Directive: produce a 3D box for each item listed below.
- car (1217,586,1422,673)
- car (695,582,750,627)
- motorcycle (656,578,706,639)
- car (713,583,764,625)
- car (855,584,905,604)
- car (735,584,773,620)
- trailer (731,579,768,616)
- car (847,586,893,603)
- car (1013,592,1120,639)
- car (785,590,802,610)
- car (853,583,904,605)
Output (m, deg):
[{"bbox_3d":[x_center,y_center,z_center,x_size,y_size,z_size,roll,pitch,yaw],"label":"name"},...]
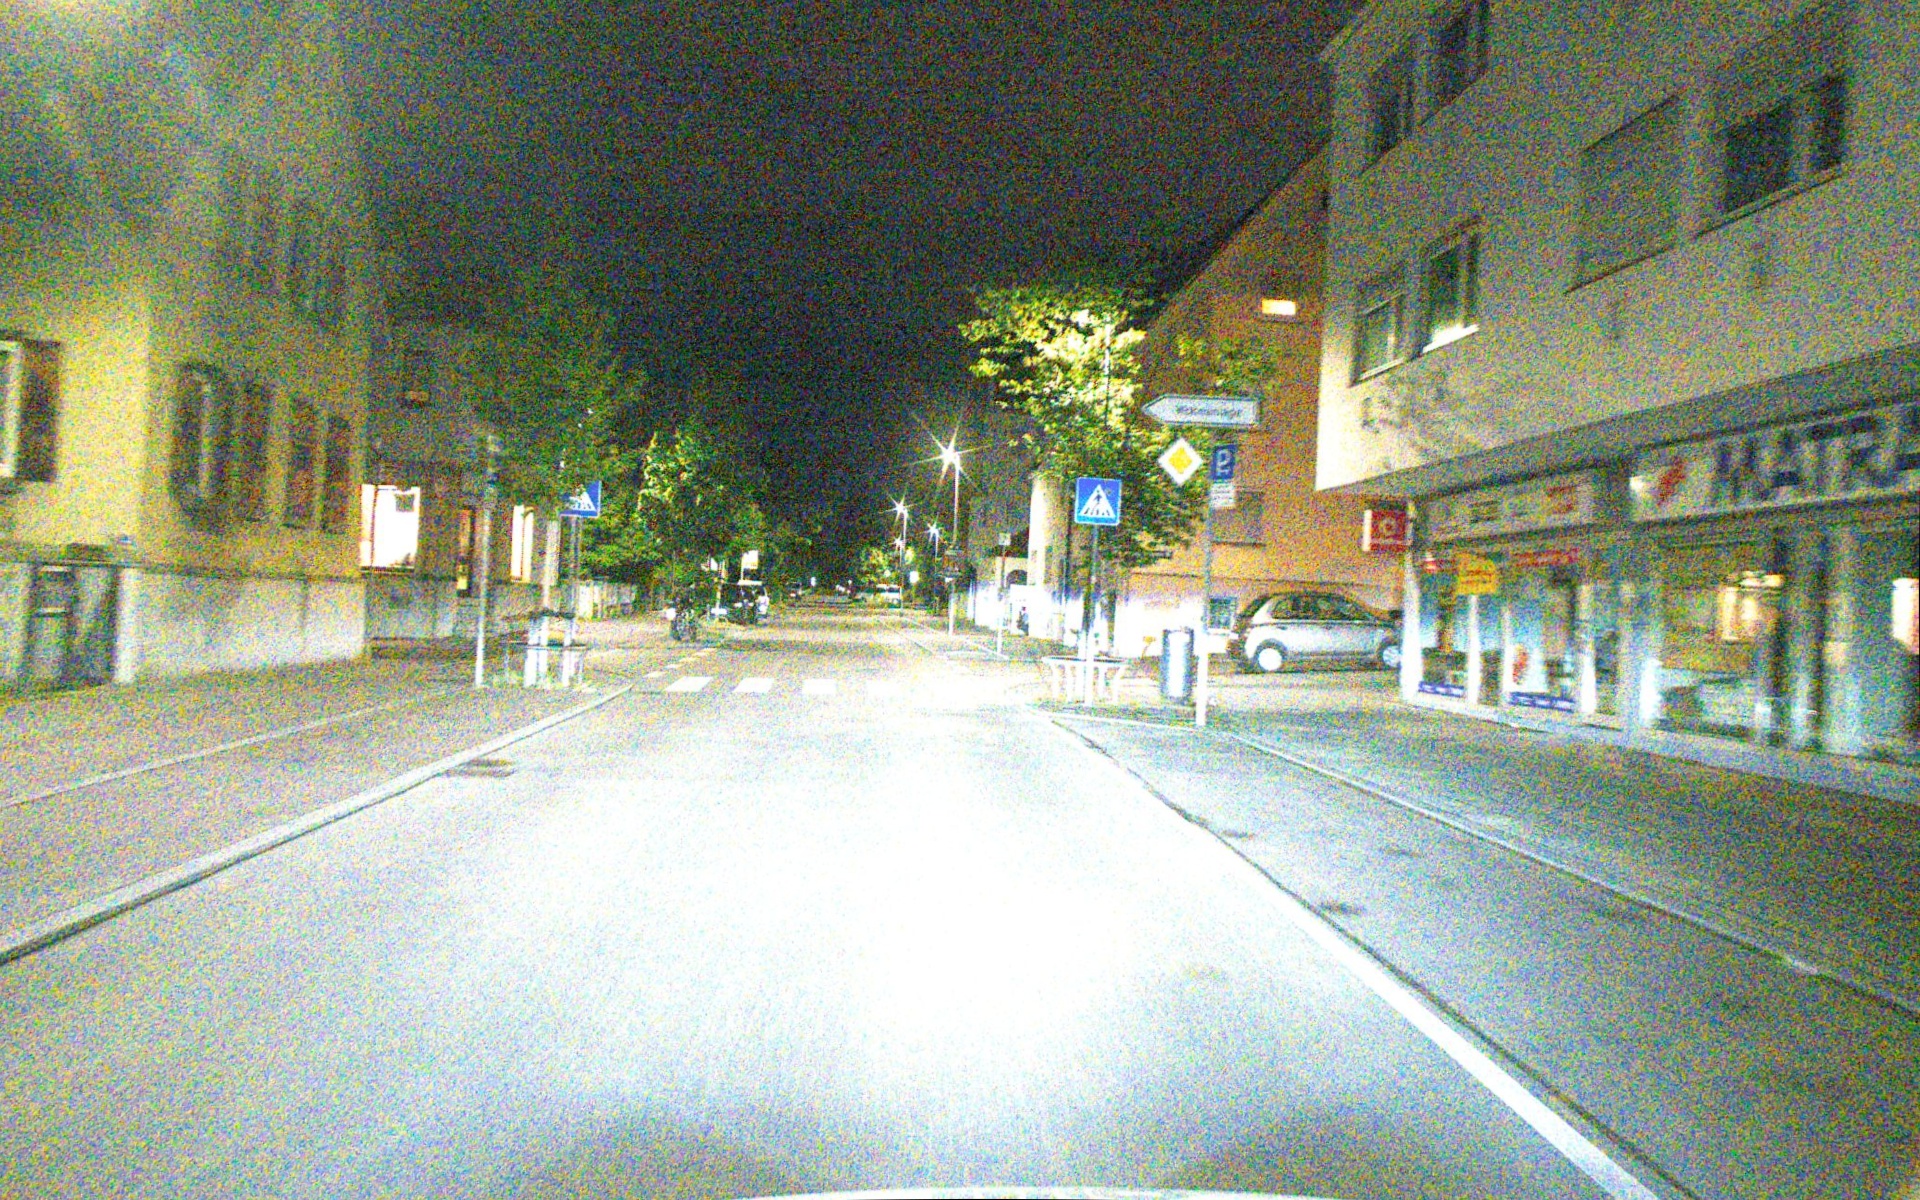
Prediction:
[{"bbox_3d":[6.851,0.542,31.725,3.437,1.551,1.819,-1,0,-6],"label":"car"},{"bbox_3d":[-8.757,0.148,61.256,1.655,1.536,4.275,2,0,-4],"label":"car"},{"bbox_3d":[-7.126,0.215,42.404,0.730,1.477,2.196,2,0,4],"label":"motorcycle"},{"bbox_3d":[-8.873,0.139,66.506,1.732,1.545,4.274,3,0,-5],"label":"car"},{"bbox_3d":[-8.253,-0.609,170.200,5.083,2.049,2.099,1,0,-6],"label":"car"},{"bbox_3d":[-10.014,0.092,80.468,1.639,1.548,2.975,5,0,-6],"label":"car"},{"bbox_3d":[-10.637,-0.123,83.652,1.419,1.717,3.424,5,0,-2],"label":"trailer"},{"bbox_3d":[-10.423,-0.607,191.777,5.073,1.920,2.103,1,0,4],"label":"car"},{"bbox_3d":[3.777,0.563,58.997,3.637,1.499,1.730,3,0,-2],"label":"car"},{"bbox_3d":[-19.126,0.021,190.023,1.790,2.021,4.459,4,-2,-6],"label":"car"},{"bbox_3d":[-8.264,-0.606,167.125,5.083,2.049,2.099,1,0,-6],"label":"car"}]
